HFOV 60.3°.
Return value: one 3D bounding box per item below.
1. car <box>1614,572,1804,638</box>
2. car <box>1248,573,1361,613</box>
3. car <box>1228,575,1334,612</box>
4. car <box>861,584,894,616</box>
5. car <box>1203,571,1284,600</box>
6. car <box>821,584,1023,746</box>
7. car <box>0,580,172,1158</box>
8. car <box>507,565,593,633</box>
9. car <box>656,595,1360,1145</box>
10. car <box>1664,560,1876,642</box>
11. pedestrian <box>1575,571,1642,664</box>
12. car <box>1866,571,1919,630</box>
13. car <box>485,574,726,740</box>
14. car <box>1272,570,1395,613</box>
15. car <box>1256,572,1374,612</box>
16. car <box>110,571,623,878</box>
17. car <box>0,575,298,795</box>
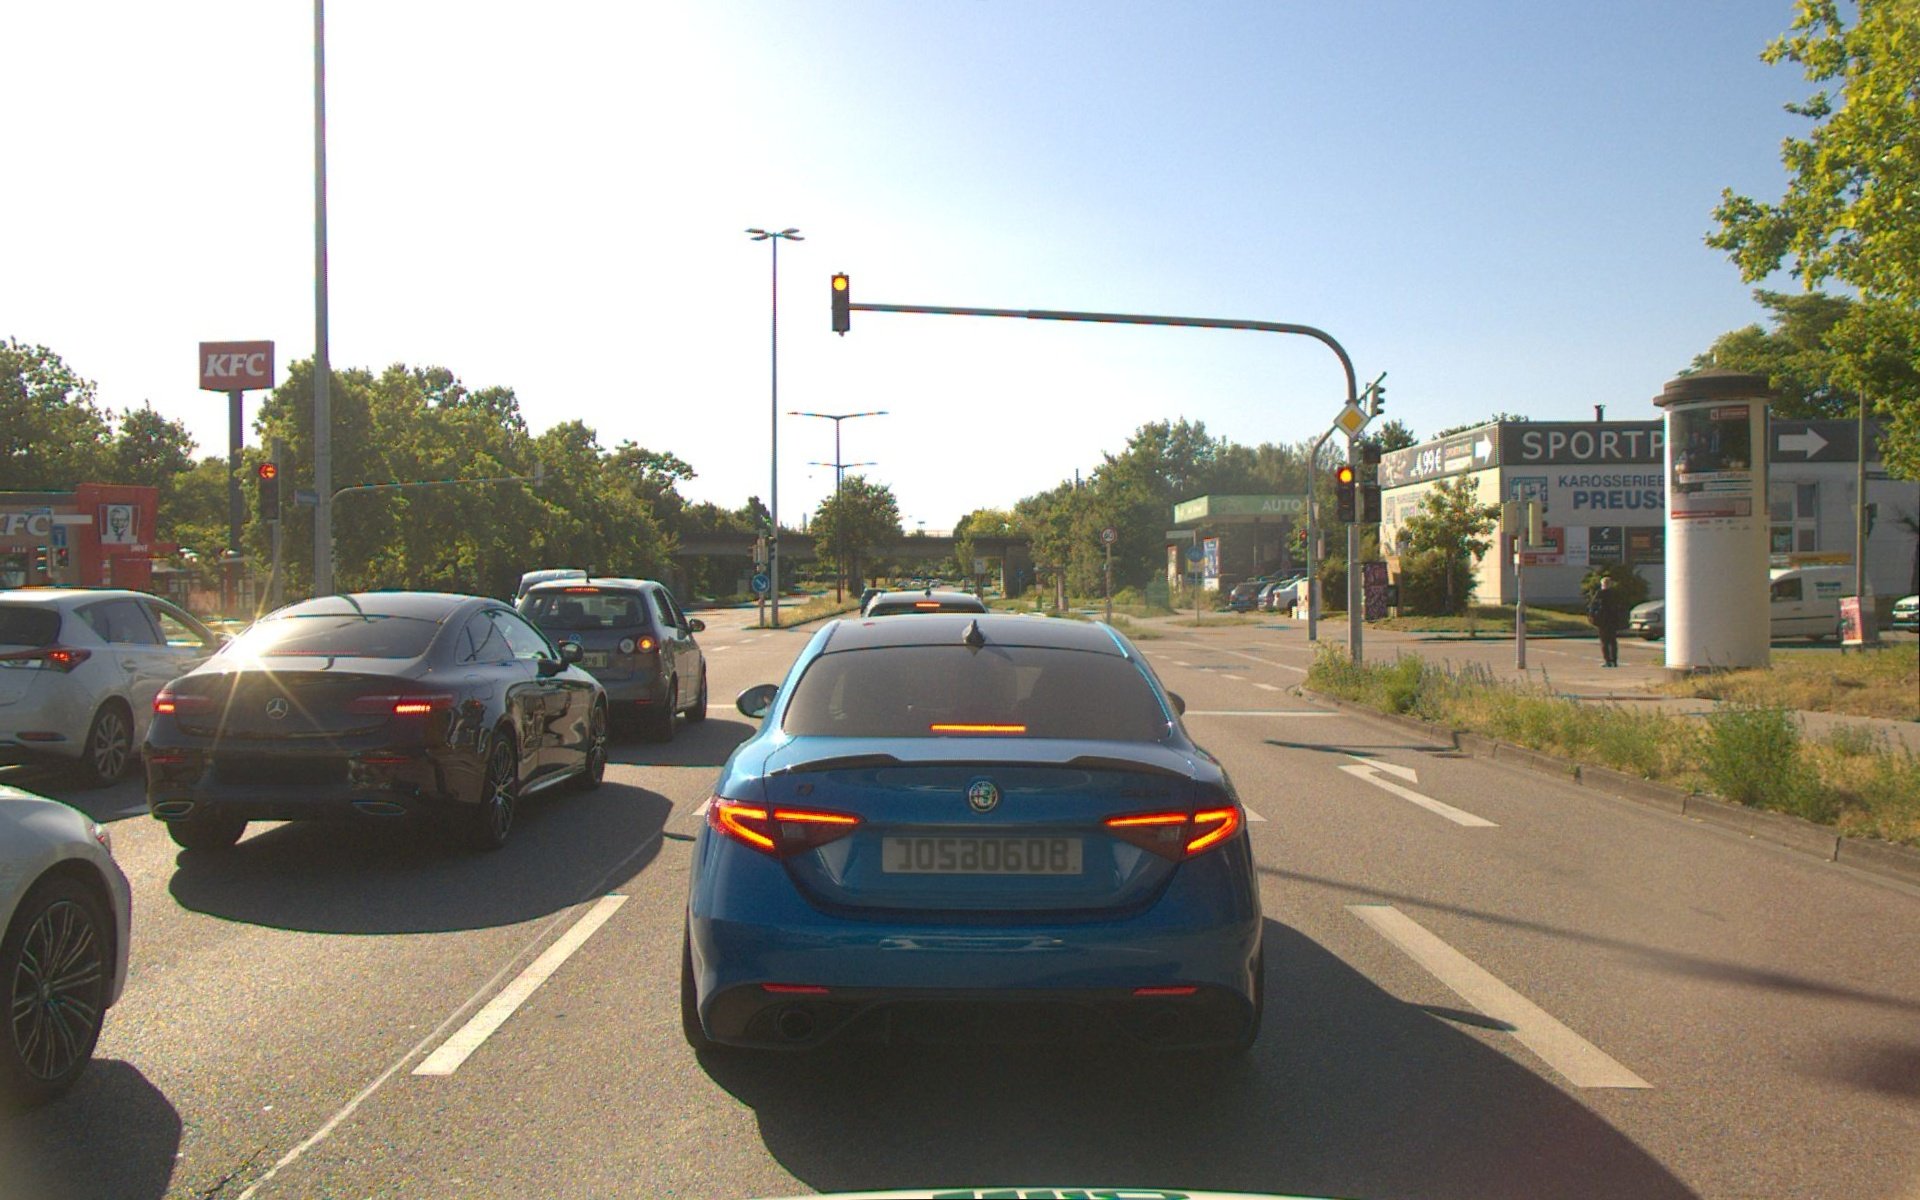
[{"bbox_3d":[19.596,0.110,43.388,4.201,1.576,1.764,-1,2,-2],"label":"car"},{"bbox_3d":[14.628,-0.298,70.339,4.397,1.479,1.858,-2,0,1],"label":"car"},{"bbox_3d":[14.400,-0.290,74.386,4.397,1.479,1.858,-2,0,1],"label":"car"},{"bbox_3d":[-4.983,-0.003,100.065,1.853,1.847,3.999,1,0,-1],"label":"car"},{"bbox_3d":[16.722,-0.849,97.594,4.457,1.516,1.765,-2,0,1],"label":"car"},{"bbox_3d":[-0.412,0.604,17.233,1.813,1.443,4.401,1,0,-2],"label":"car"},{"bbox_3d":[-3.343,0.687,3.059,1.749,1.516,4.401,1,0,-2],"label":"car"},{"bbox_3d":[-16.367,-0.024,66.399,1.981,2.489,5.820,-3,0,-1],"label":"car"},{"bbox_3d":[0.069,0.734,6.605,1.857,1.443,4.401,1,0,-2],"label":"car"},{"bbox_3d":[19.528,0.004,39.987,4.293,1.833,1.764,-1,2,-2],"label":"car"},{"bbox_3d":[12.606,0.328,32.159,0.906,1.765,0.938,1,-1,-1],"label":"pedestrian"},{"bbox_3d":[26.364,-0.045,43.605,3.960,1.516,1.782,-2,0,-3],"label":"car"},{"bbox_3d":[-3.623,0.542,17.661,1.723,1.516,4.401,1,0,-2],"label":"car"},{"bbox_3d":[14.608,-0.322,64.806,4.397,1.479,1.858,-2,0,1],"label":"car"},{"bbox_3d":[14.484,-0.321,67.584,4.397,1.479,1.858,-2,0,1],"label":"car"},{"bbox_3d":[-3.438,0.638,10.563,1.760,1.516,4.474,1,0,-2],"label":"car"},{"bbox_3d":[-7.075,0.588,13.523,1.723,1.516,4.195,1,0,-2],"label":"car"}]
